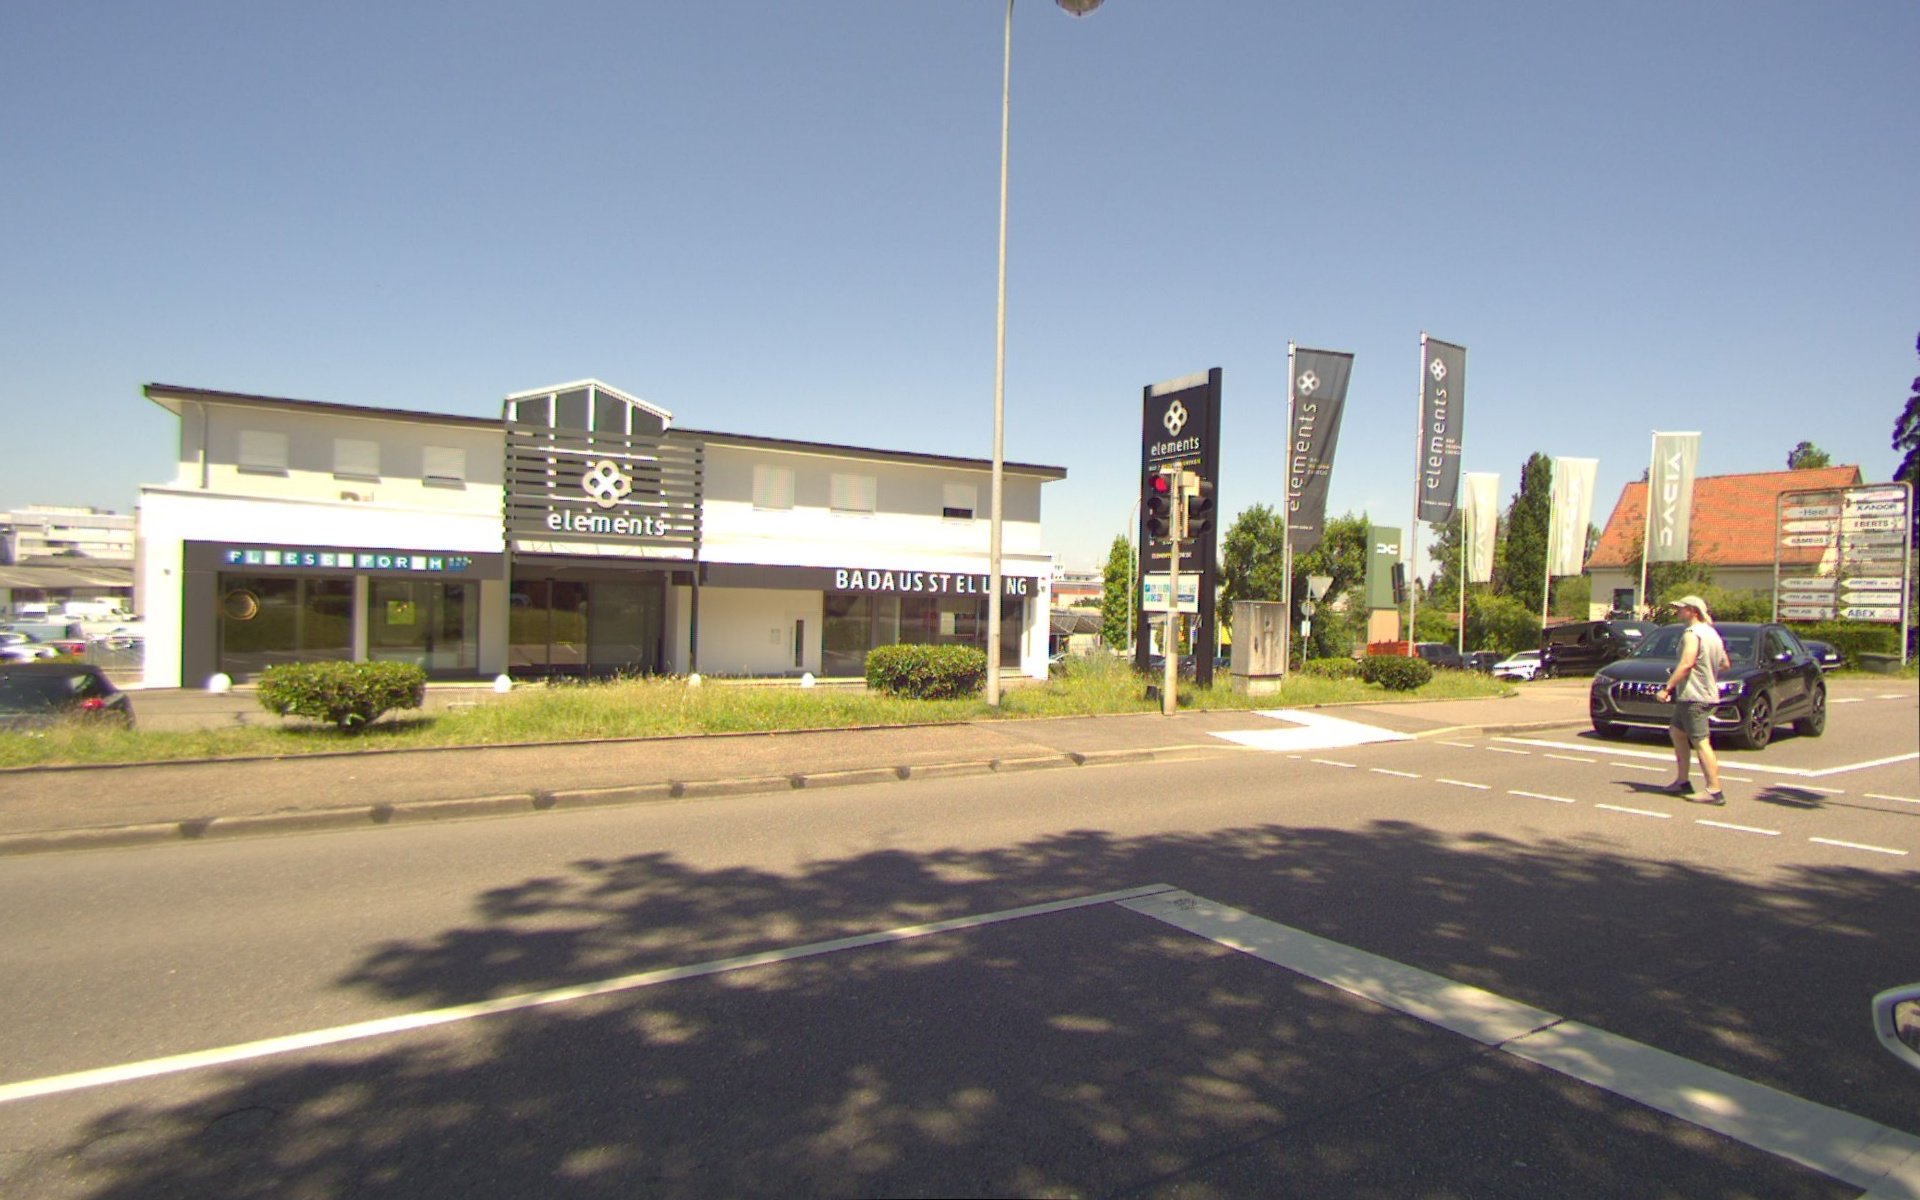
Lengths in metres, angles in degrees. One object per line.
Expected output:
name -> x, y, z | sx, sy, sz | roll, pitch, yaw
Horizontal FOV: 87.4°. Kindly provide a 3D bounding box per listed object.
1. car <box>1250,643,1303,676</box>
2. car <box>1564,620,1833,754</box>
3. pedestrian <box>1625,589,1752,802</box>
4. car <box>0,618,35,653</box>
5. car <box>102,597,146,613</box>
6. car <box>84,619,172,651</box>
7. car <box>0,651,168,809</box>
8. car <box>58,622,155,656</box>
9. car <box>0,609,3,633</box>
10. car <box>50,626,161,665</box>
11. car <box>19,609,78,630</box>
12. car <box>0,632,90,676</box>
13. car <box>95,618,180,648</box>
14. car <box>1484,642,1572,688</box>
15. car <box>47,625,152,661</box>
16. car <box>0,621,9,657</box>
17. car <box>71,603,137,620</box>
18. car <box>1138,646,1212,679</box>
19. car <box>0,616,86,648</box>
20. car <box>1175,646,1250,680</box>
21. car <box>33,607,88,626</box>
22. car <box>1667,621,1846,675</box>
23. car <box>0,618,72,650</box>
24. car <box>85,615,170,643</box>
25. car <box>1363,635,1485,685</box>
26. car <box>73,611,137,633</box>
car -> 18.660, 3.459, 59.161 | 1.785, 1.744, 4.075 | 1, 0, 36
car -> 10.444, 1.107, 14.105 | 4.263, 1.576, 1.912 | 2, -1, -37
pedestrian -> 6.309, 0.809, 8.716 | 0.689, 1.785, 0.545 | 1, 0, -4
car -> -51.426, 1.840, 52.790 | 3.726, 1.778, 1.719 | 2, -1, -28
car -> -99.660, 0.629, 119.763 | 3.726, 1.778, 1.719 | 2, -1, -28
car -> -49.331, 2.079, 59.649 | 3.726, 1.778, 1.719 | 2, -1, -28
car -> -11.709, 1.505, 12.640 | 1.746, 1.553, 4.076 | 1, -1, -24
car -> -46.880, 2.134, 55.249 | 3.726, 1.778, 1.719 | 2, -1, -28
car -> -74.527, 1.575, 75.275 | 3.726, 1.778, 1.719 | 2, 0, -28
car -> -40.961, 2.192, 48.246 | 3.726, 1.778, 1.719 | 2, -1, -28
car -> -84.414, 1.820, 93.082 | 3.724, 1.778, 1.720 | 2, 2, -26
car -> -39.932, 2.288, 42.985 | 3.726, 1.778, 1.719 | 2, -1, -28
car -> -50.595, 2.052, 61.859 | 3.726, 1.778, 1.719 | 2, -1, -28
car -> 23.854, 2.682, 42.138 | 4.053, 1.744, 1.795 | 2, 0, -38
car -> -44.094, 2.203, 51.560 | 3.726, 1.778, 1.719 | 2, -1, -28
car -> -49.206, 1.892, 48.966 | 3.726, 1.778, 1.719 | 2, -1, -28
car -> -95.808, 1.315, 112.547 | 5.236, 1.778, 2.051 | 2, -1, -28
car -> 10.791, 3.081, 50.281 | 3.973, 1.506, 1.735 | 2, -1, -44
car -> -54.810, 1.915, 59.857 | 3.726, 1.778, 1.719 | 2, -1, -28
car -> 12.033, 2.961, 47.747 | 3.841, 1.434, 1.632 | 2, -1, -43
car -> -87.936, 1.615, 98.246 | 3.726, 1.778, 1.719 | 1, 2, -28
car -> 24.939, 1.466, 31.644 | 1.751, 1.524, 4.129 | 1, -1, -20
car -> -53.297, 1.943, 57.180 | 3.726, 1.778, 1.719 | 2, -1, -28
car -> -55.241, 1.932, 66.749 | 4.004, 1.778, 1.719 | 2, -1, -28
car -> 17.910, 2.299, 38.826 | 4.022, 1.745, 1.808 | 2, 1, -16
car -> -71.026, 1.823, 83.474 | 3.726, 1.778, 1.719 | 1, 1, -28
